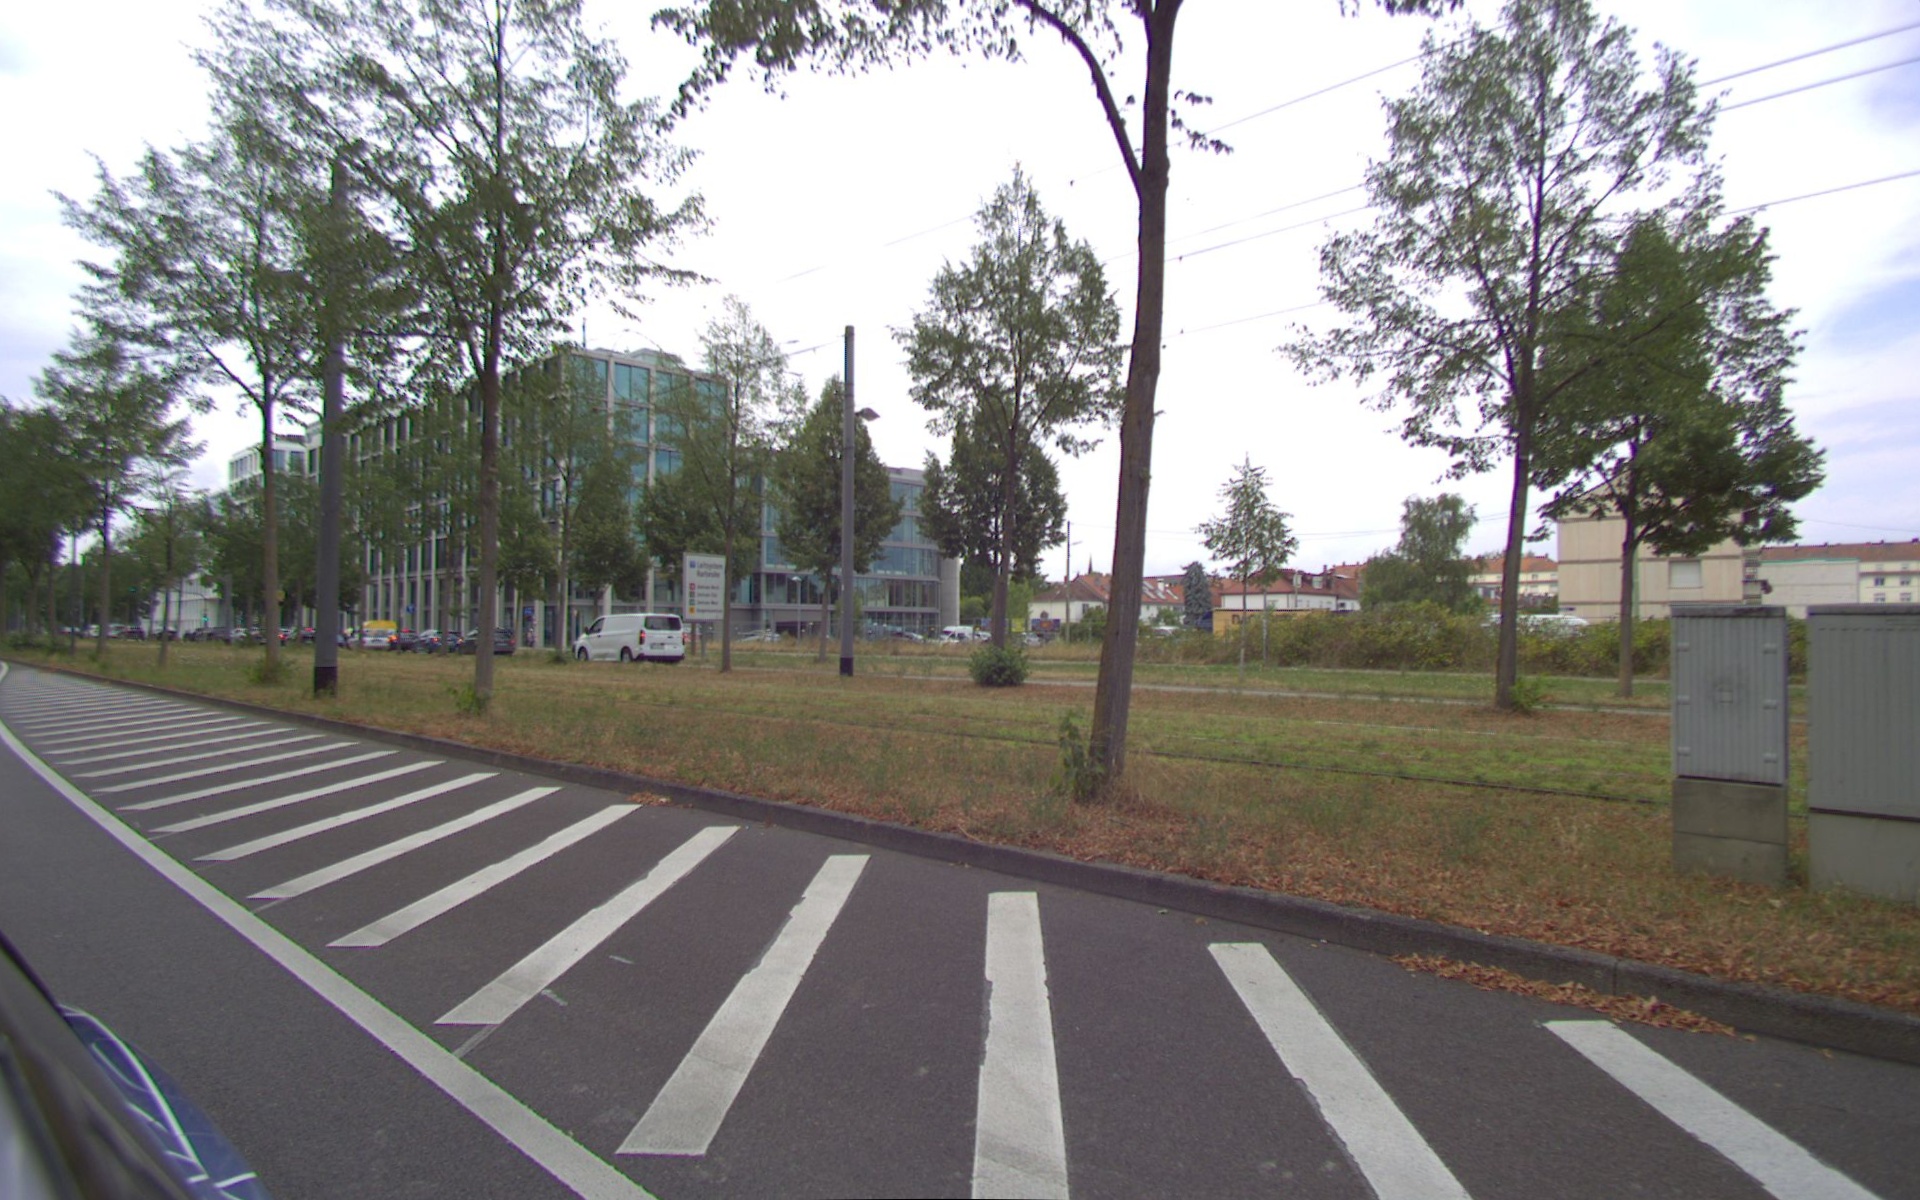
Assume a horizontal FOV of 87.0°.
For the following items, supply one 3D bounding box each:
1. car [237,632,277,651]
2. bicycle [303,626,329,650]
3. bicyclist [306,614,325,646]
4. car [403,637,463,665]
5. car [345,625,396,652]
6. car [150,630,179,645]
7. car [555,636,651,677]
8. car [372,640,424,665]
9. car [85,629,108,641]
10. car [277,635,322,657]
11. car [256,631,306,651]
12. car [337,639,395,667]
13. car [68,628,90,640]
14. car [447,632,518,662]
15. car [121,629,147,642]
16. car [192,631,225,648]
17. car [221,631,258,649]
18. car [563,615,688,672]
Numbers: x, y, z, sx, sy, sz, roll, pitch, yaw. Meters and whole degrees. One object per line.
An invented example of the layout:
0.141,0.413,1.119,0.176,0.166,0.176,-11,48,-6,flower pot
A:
-54.550,3.198,78.510,3.865,1.468,1.729,-2,-3,43,car
-42.019,2.506,66.020,2.356,1.499,0.702,-3,-1,41,bicycle
-42.031,1.966,66.031,0.994,2.029,0.733,-1,0,39,bicyclist
-29.851,2.860,57.313,3.864,1.508,1.730,-2,-2,42,car
-40.010,2.580,68.657,1.929,1.785,4.447,2,-3,-44,car
-80.729,3.769,102.673,3.865,1.468,1.729,-2,-3,43,car
-15.639,2.415,44.185,4.688,1.669,1.809,-2,-2,40,car
-35.094,3.242,63.176,3.866,1.468,1.729,-2,-3,44,car
-105.649,4.291,123.771,3.865,1.468,1.729,-2,-3,43,car
-45.042,3.115,68.988,3.866,1.468,1.729,-2,-3,44,car
-48.585,2.927,72.421,3.998,1.429,1.973,-2,-2,41,car
-33.681,2.975,57.311,3.864,1.508,1.730,-2,-2,42,car
-115.393,4.472,132.506,3.865,1.468,1.729,-2,-3,43,car
-25.077,2.437,53.072,4.276,1.541,1.731,-2,-2,40,car
-93.883,4.071,115.026,3.865,1.468,1.729,-2,-3,43,car
-66.618,3.453,89.704,3.865,1.468,1.729,-2,-3,43,car
-58.997,3.280,82.883,3.865,1.468,1.729,-2,-3,43,car
-12.379,1.570,37.259,5.091,1.959,1.974,-2,-2,40,car
